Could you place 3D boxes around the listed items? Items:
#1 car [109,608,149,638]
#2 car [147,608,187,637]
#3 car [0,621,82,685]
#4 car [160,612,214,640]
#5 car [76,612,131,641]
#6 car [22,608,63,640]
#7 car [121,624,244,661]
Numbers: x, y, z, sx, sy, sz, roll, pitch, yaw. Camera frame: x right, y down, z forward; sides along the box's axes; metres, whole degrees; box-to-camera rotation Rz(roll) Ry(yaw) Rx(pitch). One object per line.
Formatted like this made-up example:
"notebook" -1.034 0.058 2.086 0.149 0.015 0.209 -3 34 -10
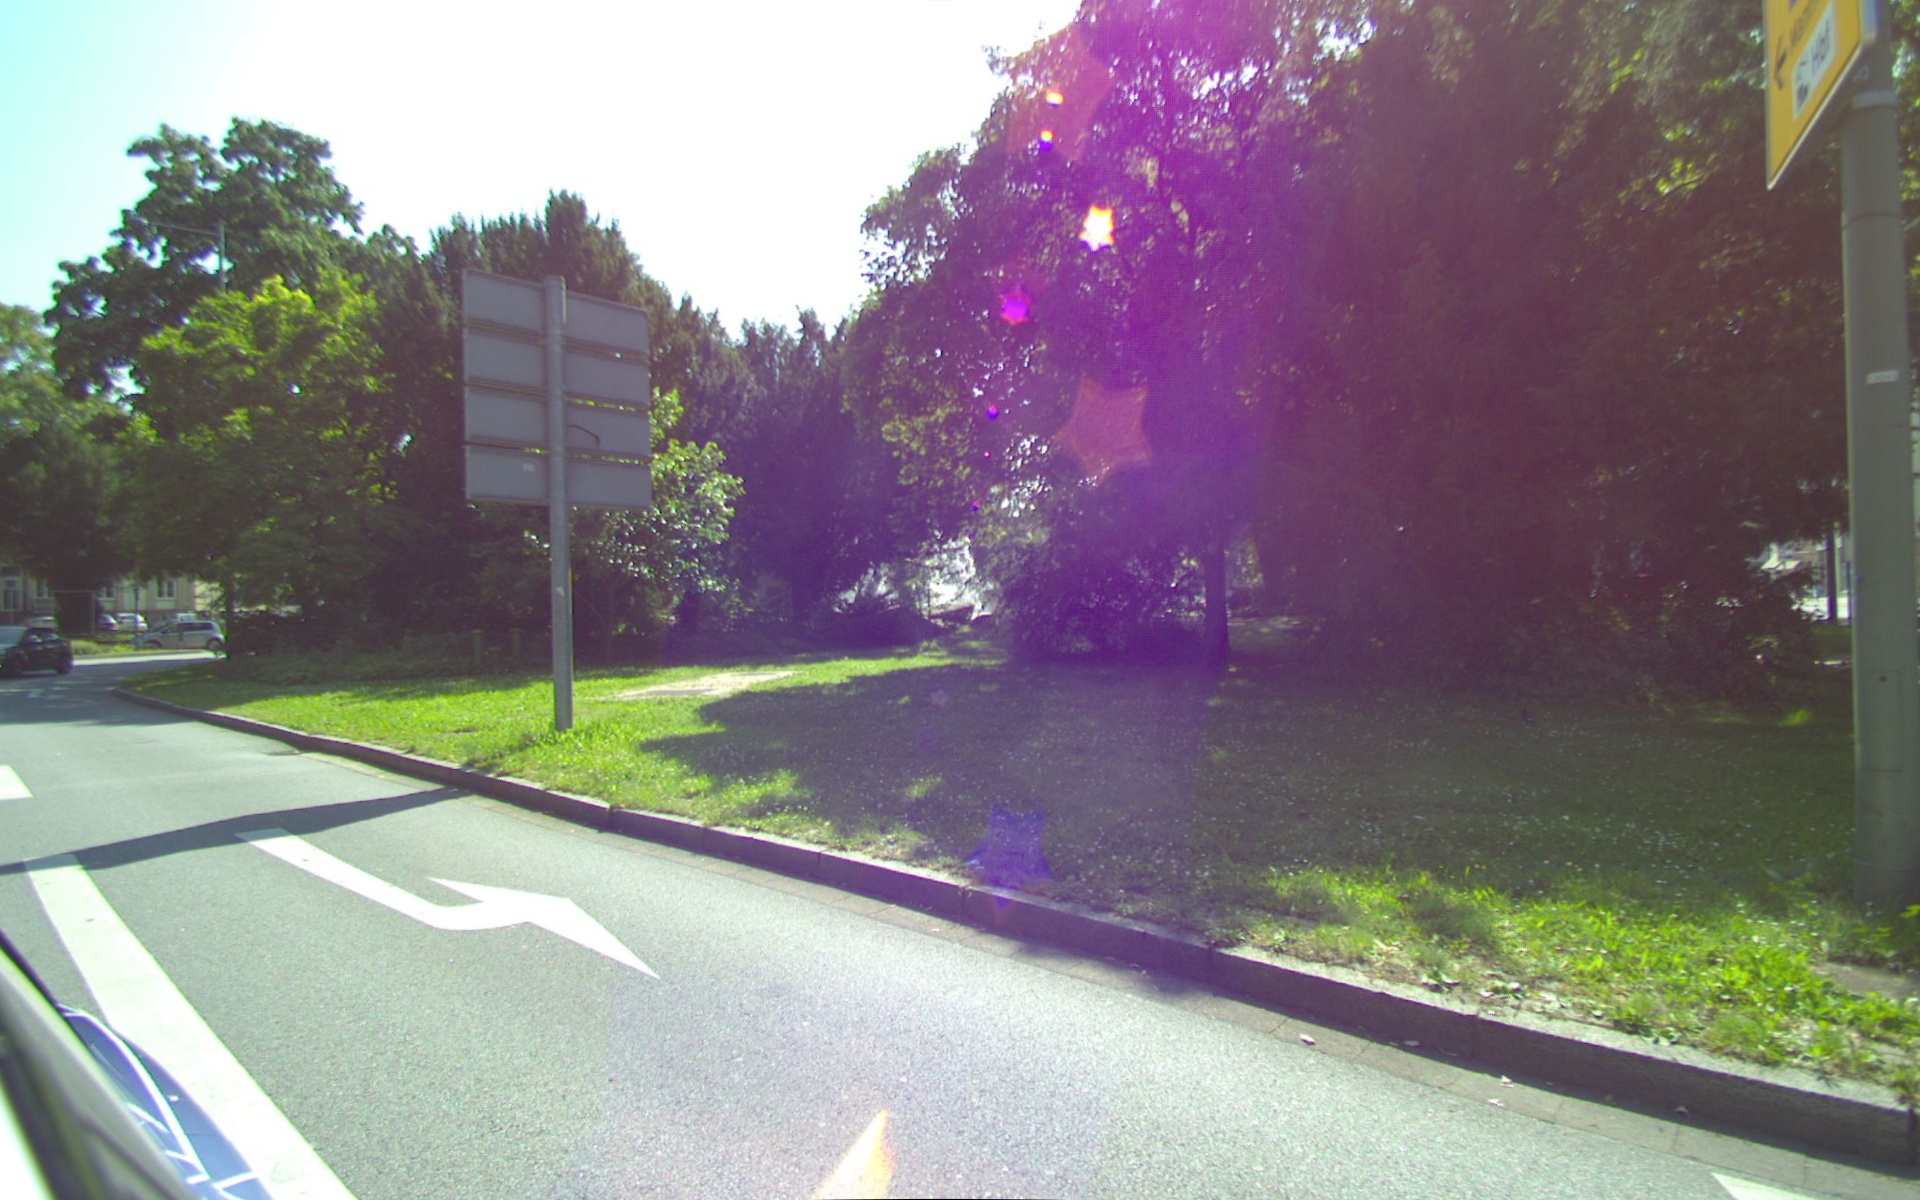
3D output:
"car" -58.742 1.631 71.535 4.002 2.029 1.825 -2 -1 45
"car" -57.202 1.648 72.966 4.002 2.029 1.825 -2 -1 45
"car" -27.318 1.463 28.841 1.859 1.697 4.154 1 -1 -16
"car" -49.278 1.667 64.478 3.995 1.674 1.828 -2 -1 39
"car" -52.161 1.633 61.619 3.995 1.674 1.828 -2 -1 39
"car" -60.755 1.569 66.990 4.002 2.029 1.825 -2 -1 45
"car" -37.115 1.993 48.415 1.681 1.566 4.365 -2 0 36
